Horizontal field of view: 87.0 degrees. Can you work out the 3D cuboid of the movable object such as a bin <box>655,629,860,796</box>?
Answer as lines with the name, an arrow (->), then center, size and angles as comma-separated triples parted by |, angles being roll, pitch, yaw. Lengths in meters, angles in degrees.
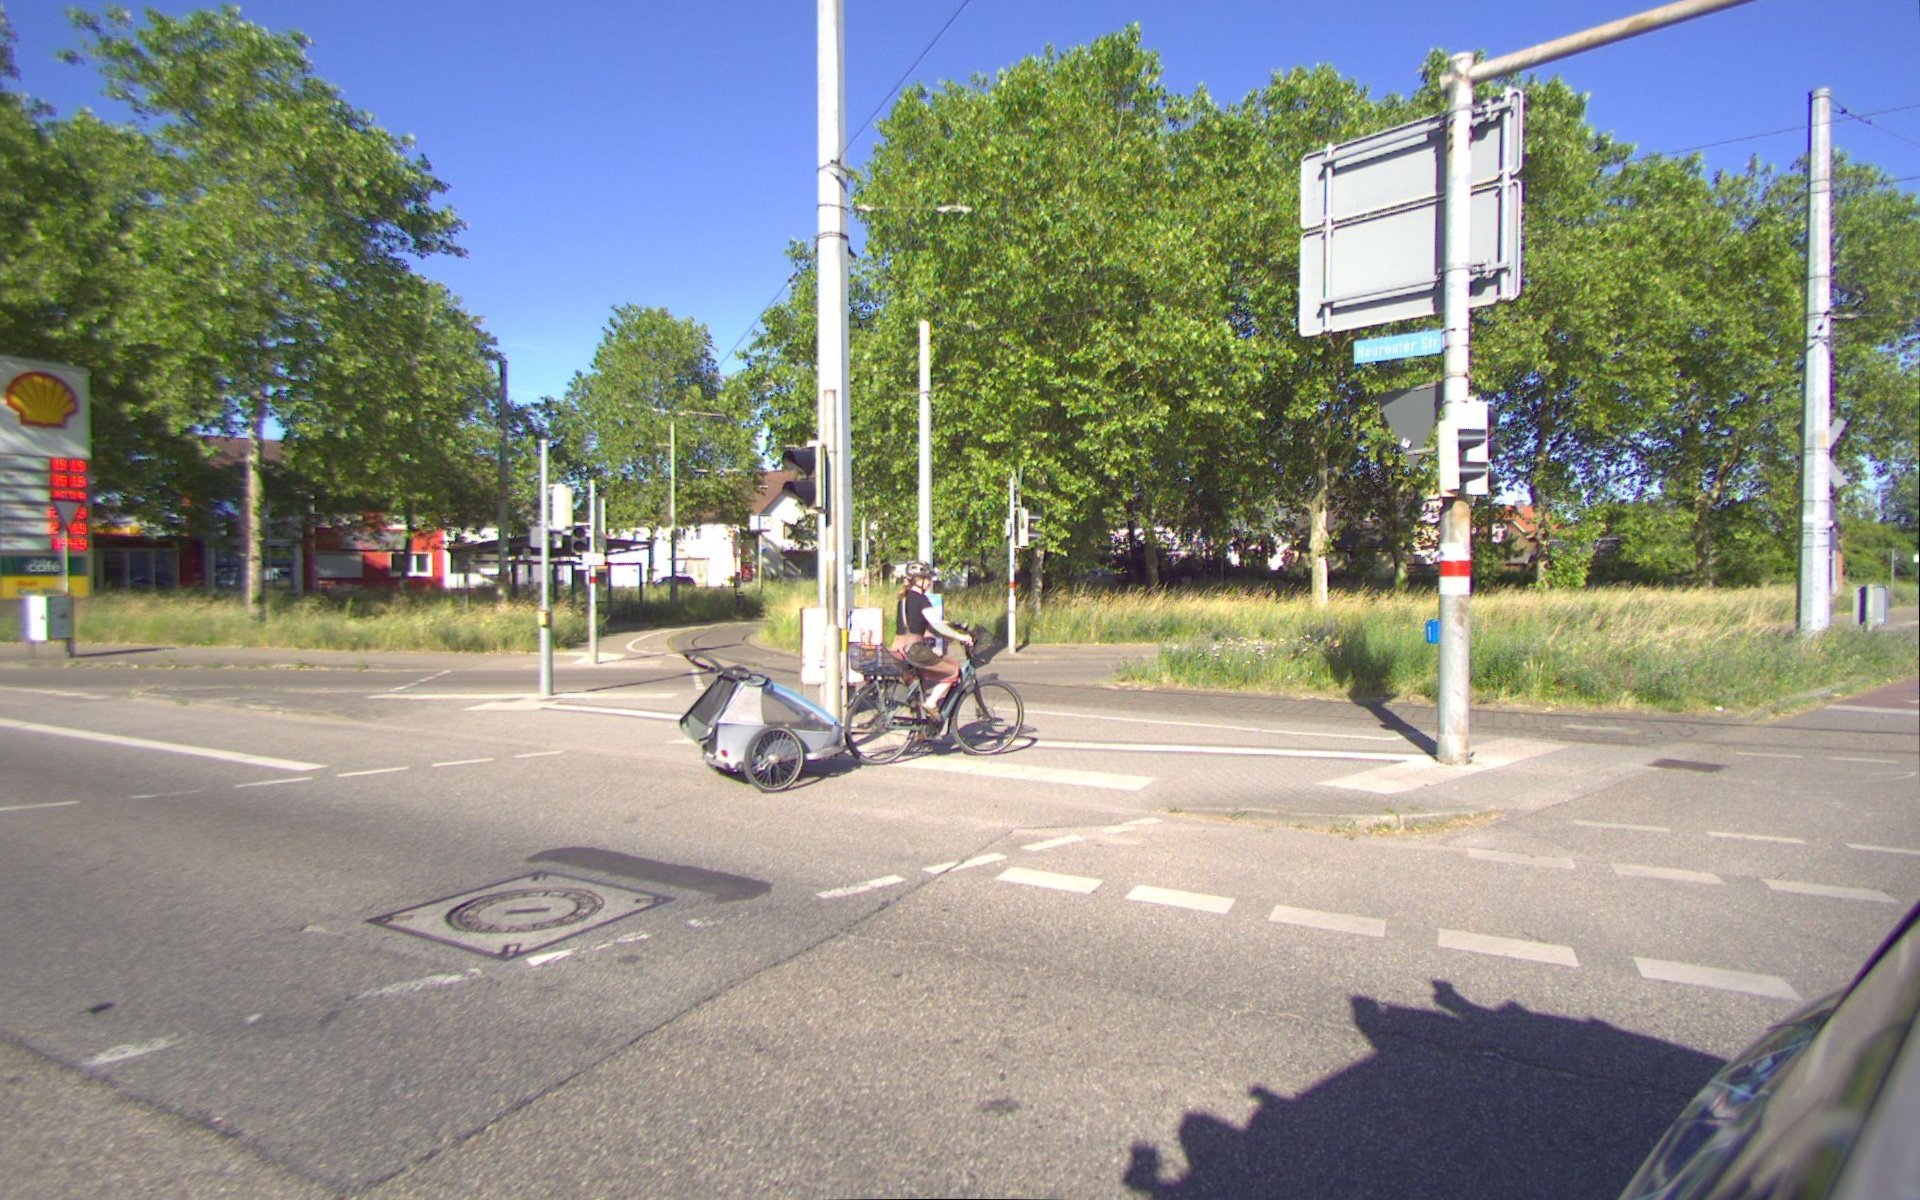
movable object such as a bin -> -1.557, 0.806, 7.799 | 1.292, 1.082, 0.911 | -1, 2, -37

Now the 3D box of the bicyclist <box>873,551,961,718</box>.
bicyclist -> -0.363, 0.267, 8.588 | 0.556, 1.357, 0.510 | -1, 1, -45

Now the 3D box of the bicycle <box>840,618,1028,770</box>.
bicycle -> -0.184, 0.756, 8.764 | 1.790, 1.133, 0.467 | -1, 1, -44
